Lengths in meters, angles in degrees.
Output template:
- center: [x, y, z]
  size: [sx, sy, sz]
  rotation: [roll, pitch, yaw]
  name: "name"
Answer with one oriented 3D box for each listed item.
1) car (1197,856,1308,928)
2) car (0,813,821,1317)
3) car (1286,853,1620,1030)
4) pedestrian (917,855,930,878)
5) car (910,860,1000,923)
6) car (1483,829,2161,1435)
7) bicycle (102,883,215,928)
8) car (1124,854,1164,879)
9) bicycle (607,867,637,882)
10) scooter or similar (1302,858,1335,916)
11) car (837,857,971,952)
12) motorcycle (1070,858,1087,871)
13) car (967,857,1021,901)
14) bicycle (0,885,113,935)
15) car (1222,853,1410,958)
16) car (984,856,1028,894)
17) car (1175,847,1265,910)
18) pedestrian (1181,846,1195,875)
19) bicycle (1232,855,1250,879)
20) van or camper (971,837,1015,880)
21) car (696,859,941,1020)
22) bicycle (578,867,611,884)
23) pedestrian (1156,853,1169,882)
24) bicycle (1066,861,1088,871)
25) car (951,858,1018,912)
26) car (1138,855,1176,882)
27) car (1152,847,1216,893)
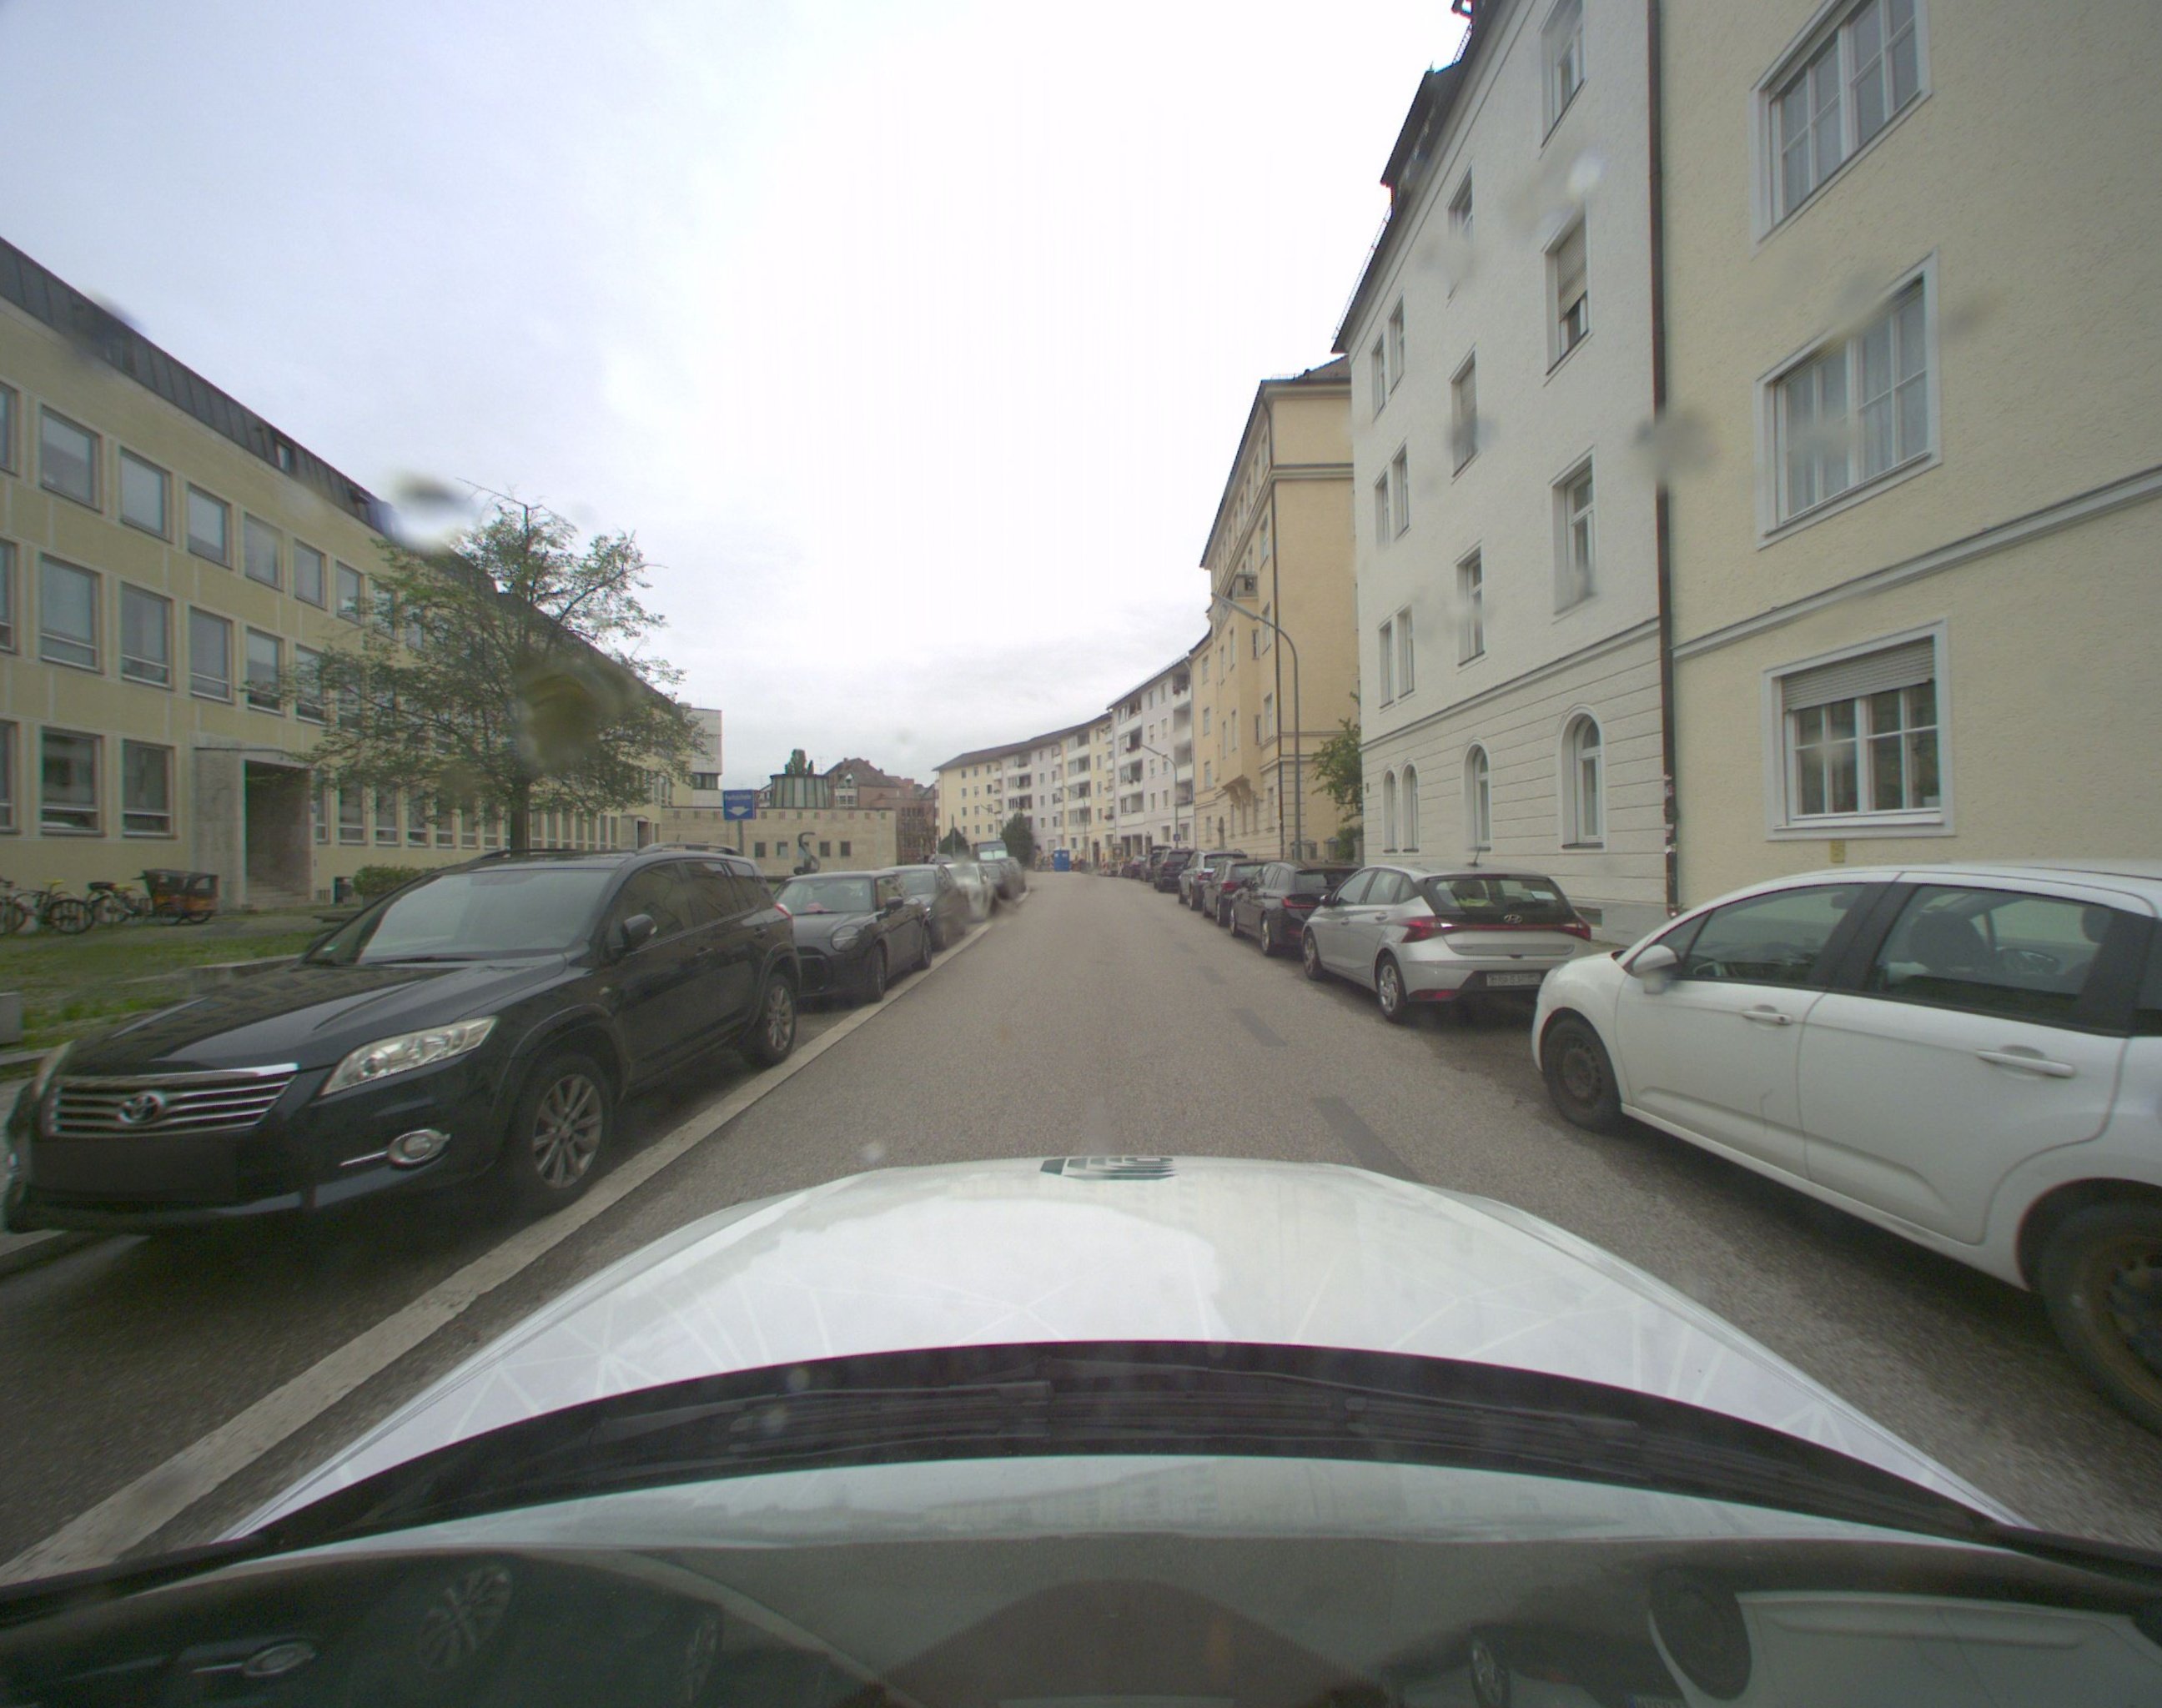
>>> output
- center: [3.827, 0.795, 18.857]
  size: [1.821, 1.450, 4.085]
  rotation: [0, 0, 1]
  name: "car"
- center: [-3.163, 0.735, 4.899]
  size: [1.708, 1.689, 4.142]
  rotation: [-3, 0, 1]
  name: "car"
- center: [3.602, 0.720, 8.820]
  size: [1.719, 1.450, 4.187]
  rotation: [0, 0, 0]
  name: "car"
- center: [-13.133, 1.057, 67.911]
  size: [0.847, 1.866, 0.708]
  rotation: [0, -1, -27]
  name: "pedestrian"
- center: [-3.173, 0.883, 21.258]
  size: [1.736, 1.422, 4.292]
  rotation: [0, 0, -1]
  name: "car"
- center: [3.559, 0.704, 3.514]
  size: [1.646, 1.543, 3.992]
  rotation: [0, 0, -1]
  name: "car"
- center: [-20.775, 1.147, 18.382]
  size: [1.611, 0.945, 0.499]
  rotation: [1, -1, -23]
  name: "bicycle"
- center: [3.834, 0.748, 50.396]
  size: [1.904, 1.477, 4.941]
  rotation: [0, 0, -3]
  name: "car"
- center: [-27.659, 1.233, 49.068]
  size: [1.473, 0.945, 0.412]
  rotation: [1, -1, -16]
  name: "bicycle"
- center: [5.223, 0.715, 17.953]
  size: [0.425, 1.230, 1.048]
  rotation: [-1, 0, 1]
  name: "scooter or similar"
- center: [-3.112, 0.821, 15.127]
  size: [1.626, 1.494, 4.099]
  rotation: [0, 0, -1]
  name: "car"
- center: [-0.265, 1.070, 82.820]
  size: [0.936, 1.221, 2.488]
  rotation: [0, -1, -23]
  name: "motorcycle"
- center: [-3.244, 0.905, 31.075]
  size: [1.626, 1.494, 3.602]
  rotation: [-3, 0, -1]
  name: "car"
- center: [-20.346, 1.094, 16.048]
  size: [1.608, 0.945, 0.500]
  rotation: [1, -1, -18]
  name: "bicycle"
- center: [3.663, 0.714, 13.627]
  size: [1.869, 1.450, 4.678]
  rotation: [0, 0, 1]
  name: "car"
- center: [-3.287, 0.883, 36.348]
  size: [1.770, 1.465, 4.460]
  rotation: [-3, 0, -4]
  name: "car"
- center: [3.920, 0.644, 23.646]
  size: [1.840, 1.663, 4.497]
  rotation: [0, 0, 0]
  name: "car"
- center: [6.413, 0.406, 48.815]
  size: [0.615, 1.690, 0.919]
  rotation: [-4, -1, 1]
  name: "pedestrian"
- center: [7.526, 0.609, 38.359]
  size: [0.500, 1.049, 2.139]
  rotation: [-4, 0, 3]
  name: "bicycle"
- center: [-5.640, 0.256, 51.511]
  size: [2.297, 2.581, 6.064]
  rotation: [0, 0, -10]
  name: "van or camper"
- center: [-2.971, 0.871, 10.090]
  size: [1.625, 1.494, 3.821]
  rotation: [-3, 0, 1]
  name: "car"
- center: [-26.949, 1.177, 45.137]
  size: [1.473, 0.945, 0.412]
  rotation: [1, -1, -16]
  name: "bicycle"
- center: [4.252, 0.696, 42.368]
  size: [0.626, 1.528, 0.578]
  rotation: [0, 0, 0]
  name: "pedestrian"
- center: [-0.467, 1.321, 90.843]
  size: [2.242, 1.069, 0.912]
  rotation: [-1, -1, -23]
  name: "bicycle"
- center: [-3.045, 0.926, 26.394]
  size: [1.626, 1.494, 4.273]
  rotation: [-3, 0, -1]
  name: "car"
- center: [4.087, 0.750, 44.124]
  size: [1.626, 1.417, 3.677]
  rotation: [0, 0, -2]
  name: "car"
- center: [4.178, 0.609, 33.910]
  size: [2.162, 1.739, 5.025]
  rotation: [0, 0, 1]
  name: "car"
